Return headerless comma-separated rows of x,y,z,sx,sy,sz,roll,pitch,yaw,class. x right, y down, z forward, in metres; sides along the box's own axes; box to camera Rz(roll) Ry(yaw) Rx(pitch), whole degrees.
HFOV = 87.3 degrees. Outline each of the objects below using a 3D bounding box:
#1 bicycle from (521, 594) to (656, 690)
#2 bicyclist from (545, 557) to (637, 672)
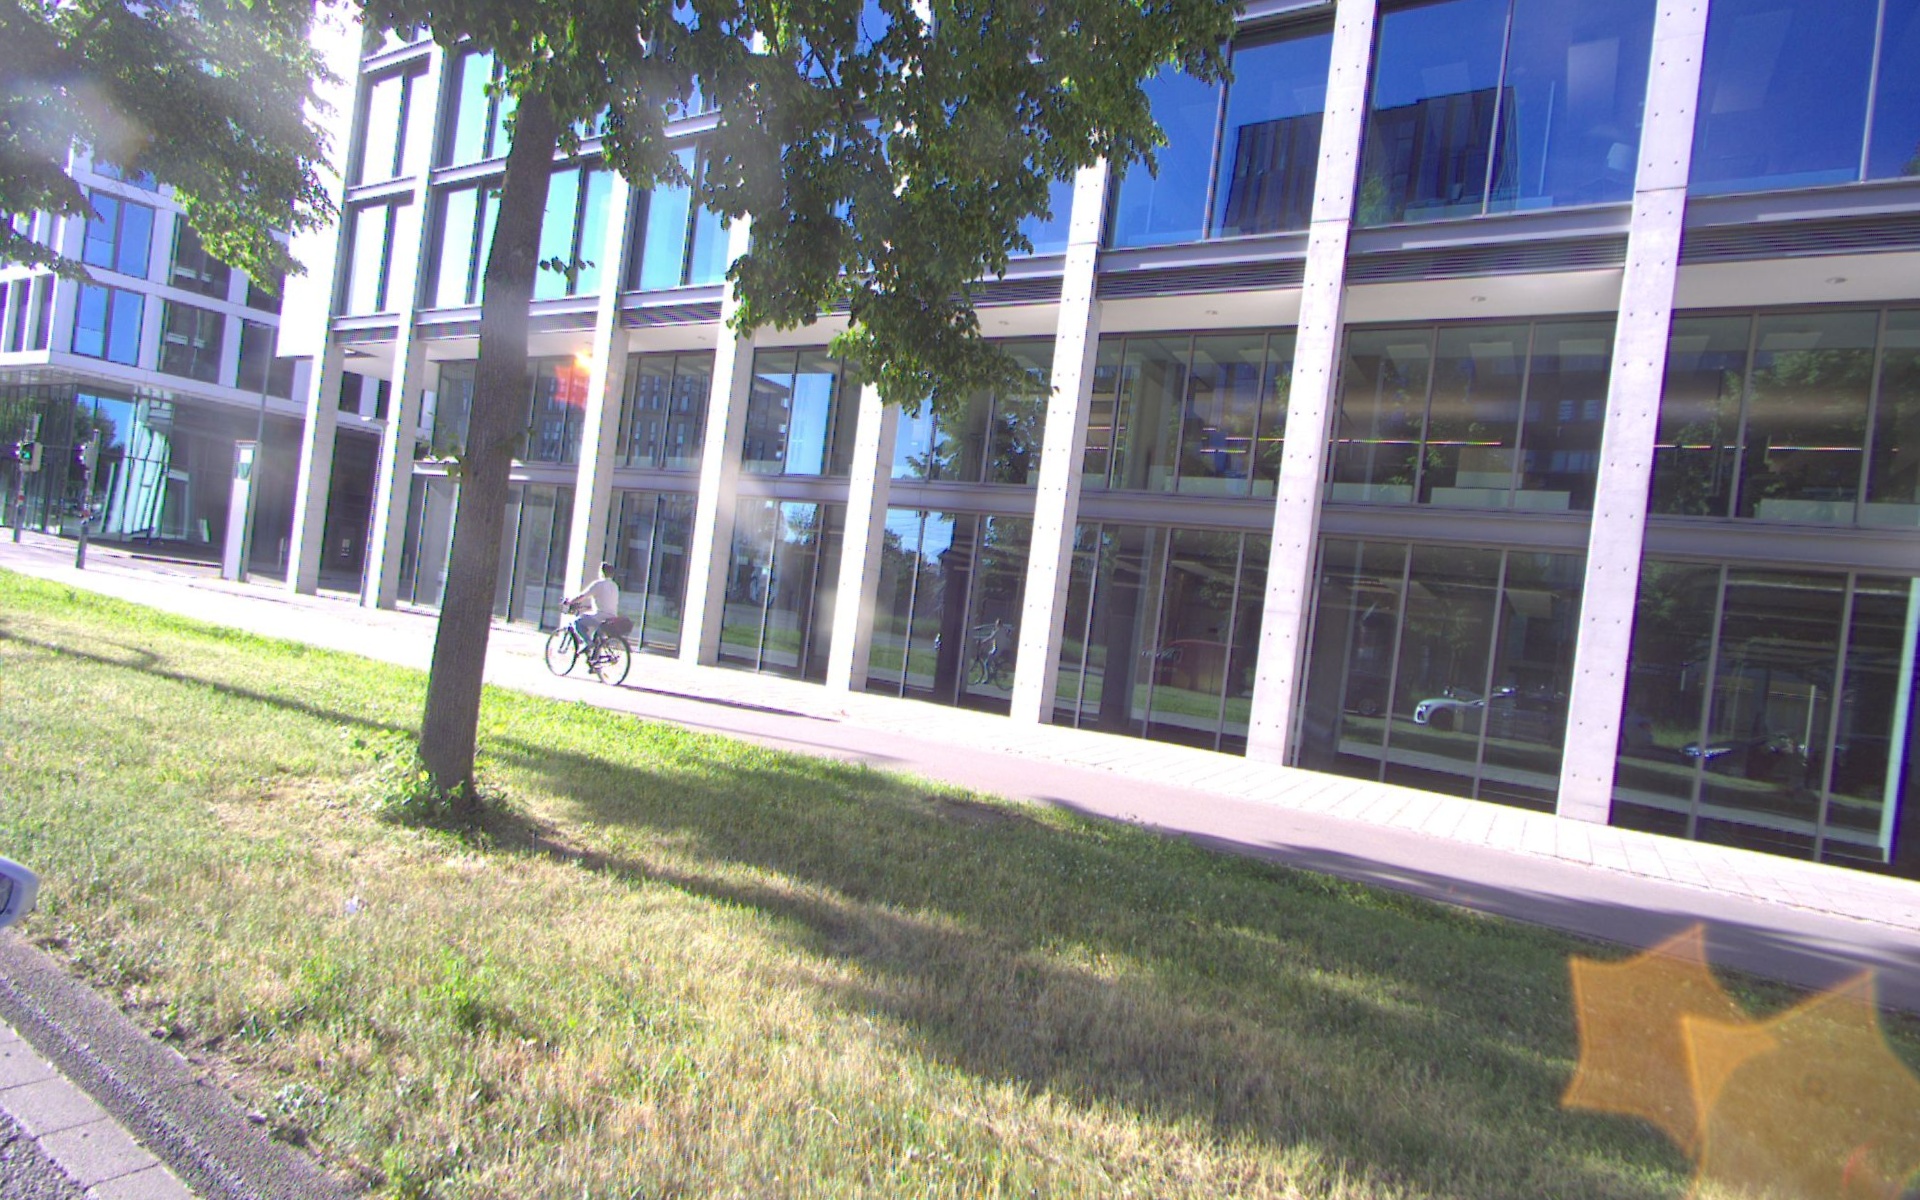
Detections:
-5.447,0.598,14.701,1.929,1.189,0.742,6,1,32,bicycle
-5.395,0.221,14.720,0.835,1.550,0.772,7,0,31,bicyclist
